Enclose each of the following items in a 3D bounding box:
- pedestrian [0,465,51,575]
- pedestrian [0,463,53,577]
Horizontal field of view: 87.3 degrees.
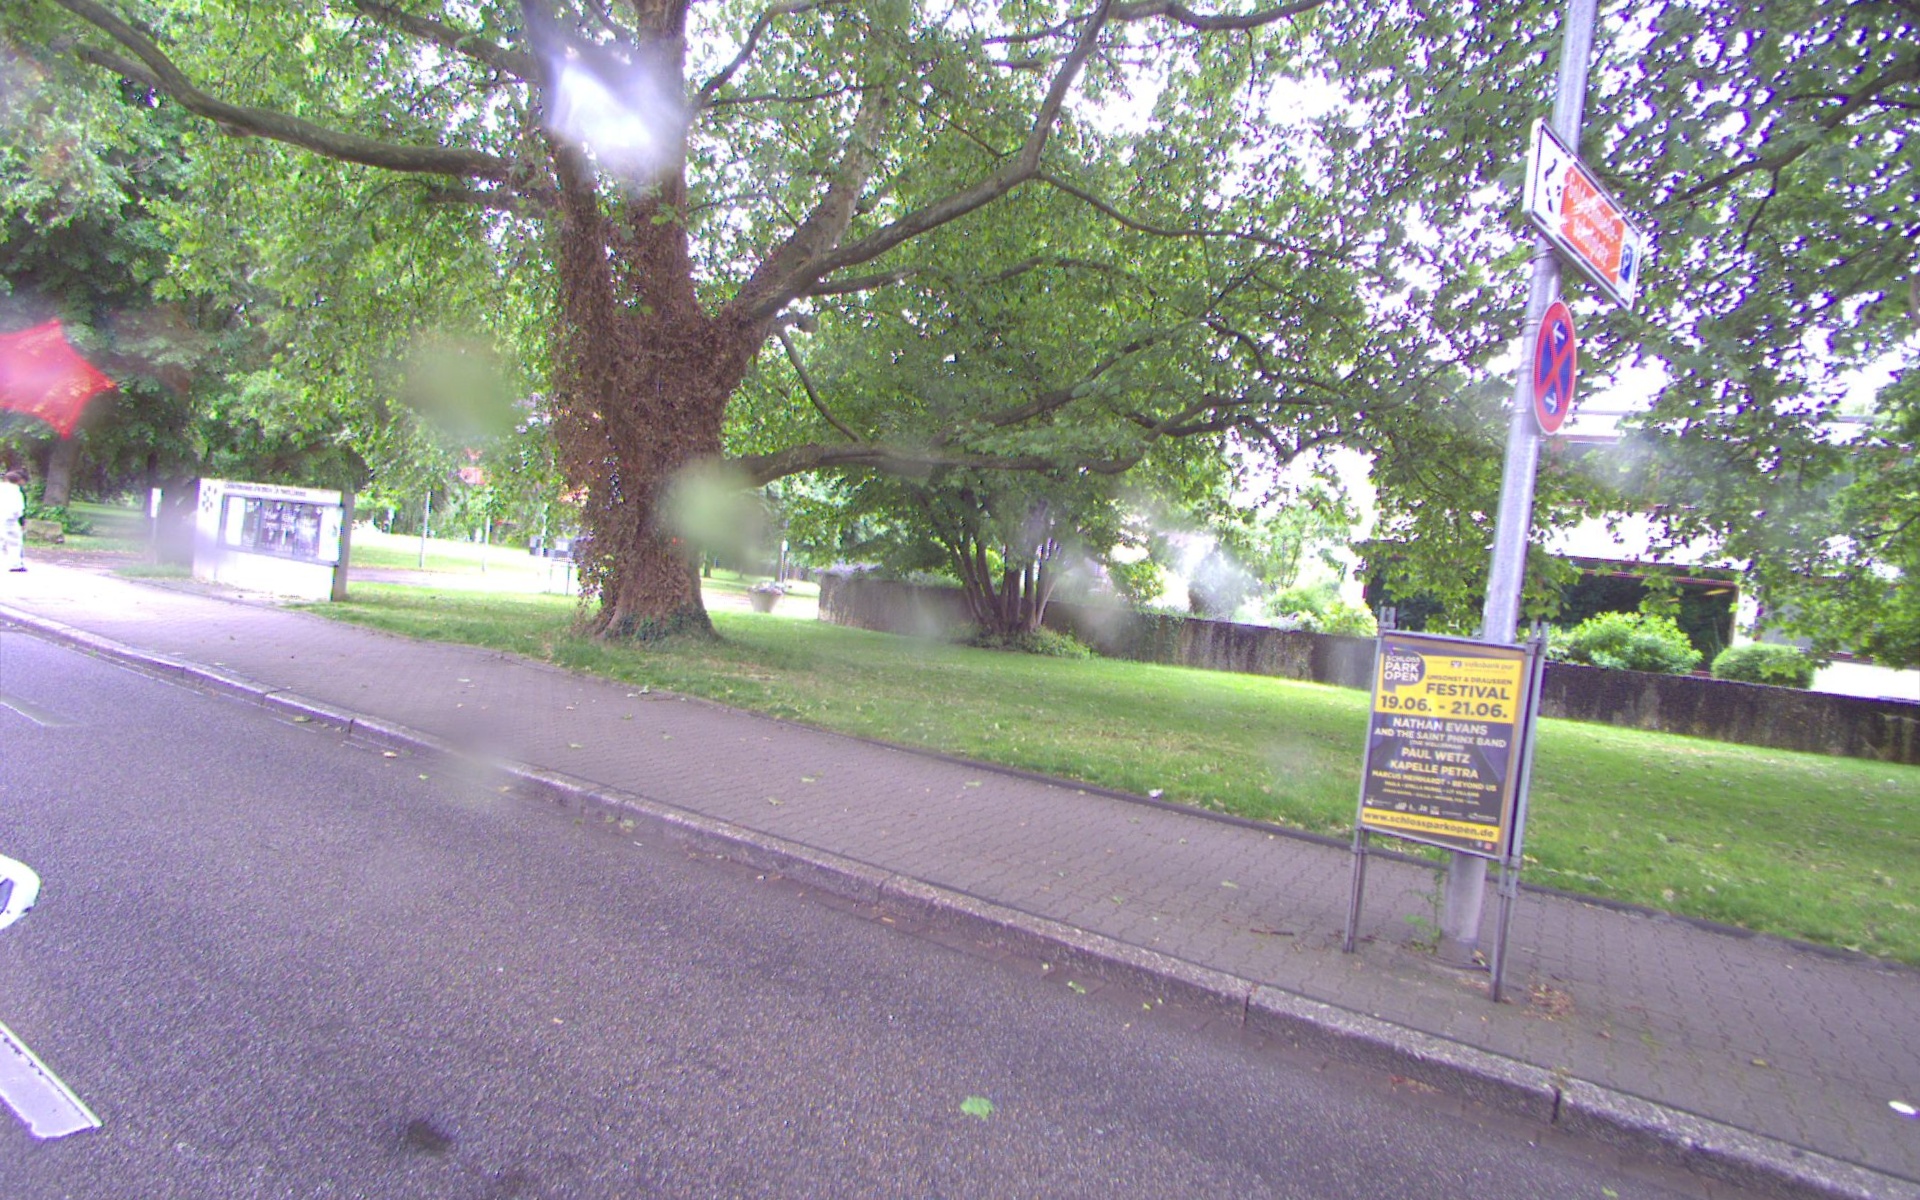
[{"bbox_3d":[-16.941,-1.432,17.805,0.646,1.902,1.037,7,4,21],"label":"pedestrian"},{"bbox_3d":[-16.410,-1.382,17.261,0.646,1.902,1.037,7,4,21],"label":"pedestrian"}]
